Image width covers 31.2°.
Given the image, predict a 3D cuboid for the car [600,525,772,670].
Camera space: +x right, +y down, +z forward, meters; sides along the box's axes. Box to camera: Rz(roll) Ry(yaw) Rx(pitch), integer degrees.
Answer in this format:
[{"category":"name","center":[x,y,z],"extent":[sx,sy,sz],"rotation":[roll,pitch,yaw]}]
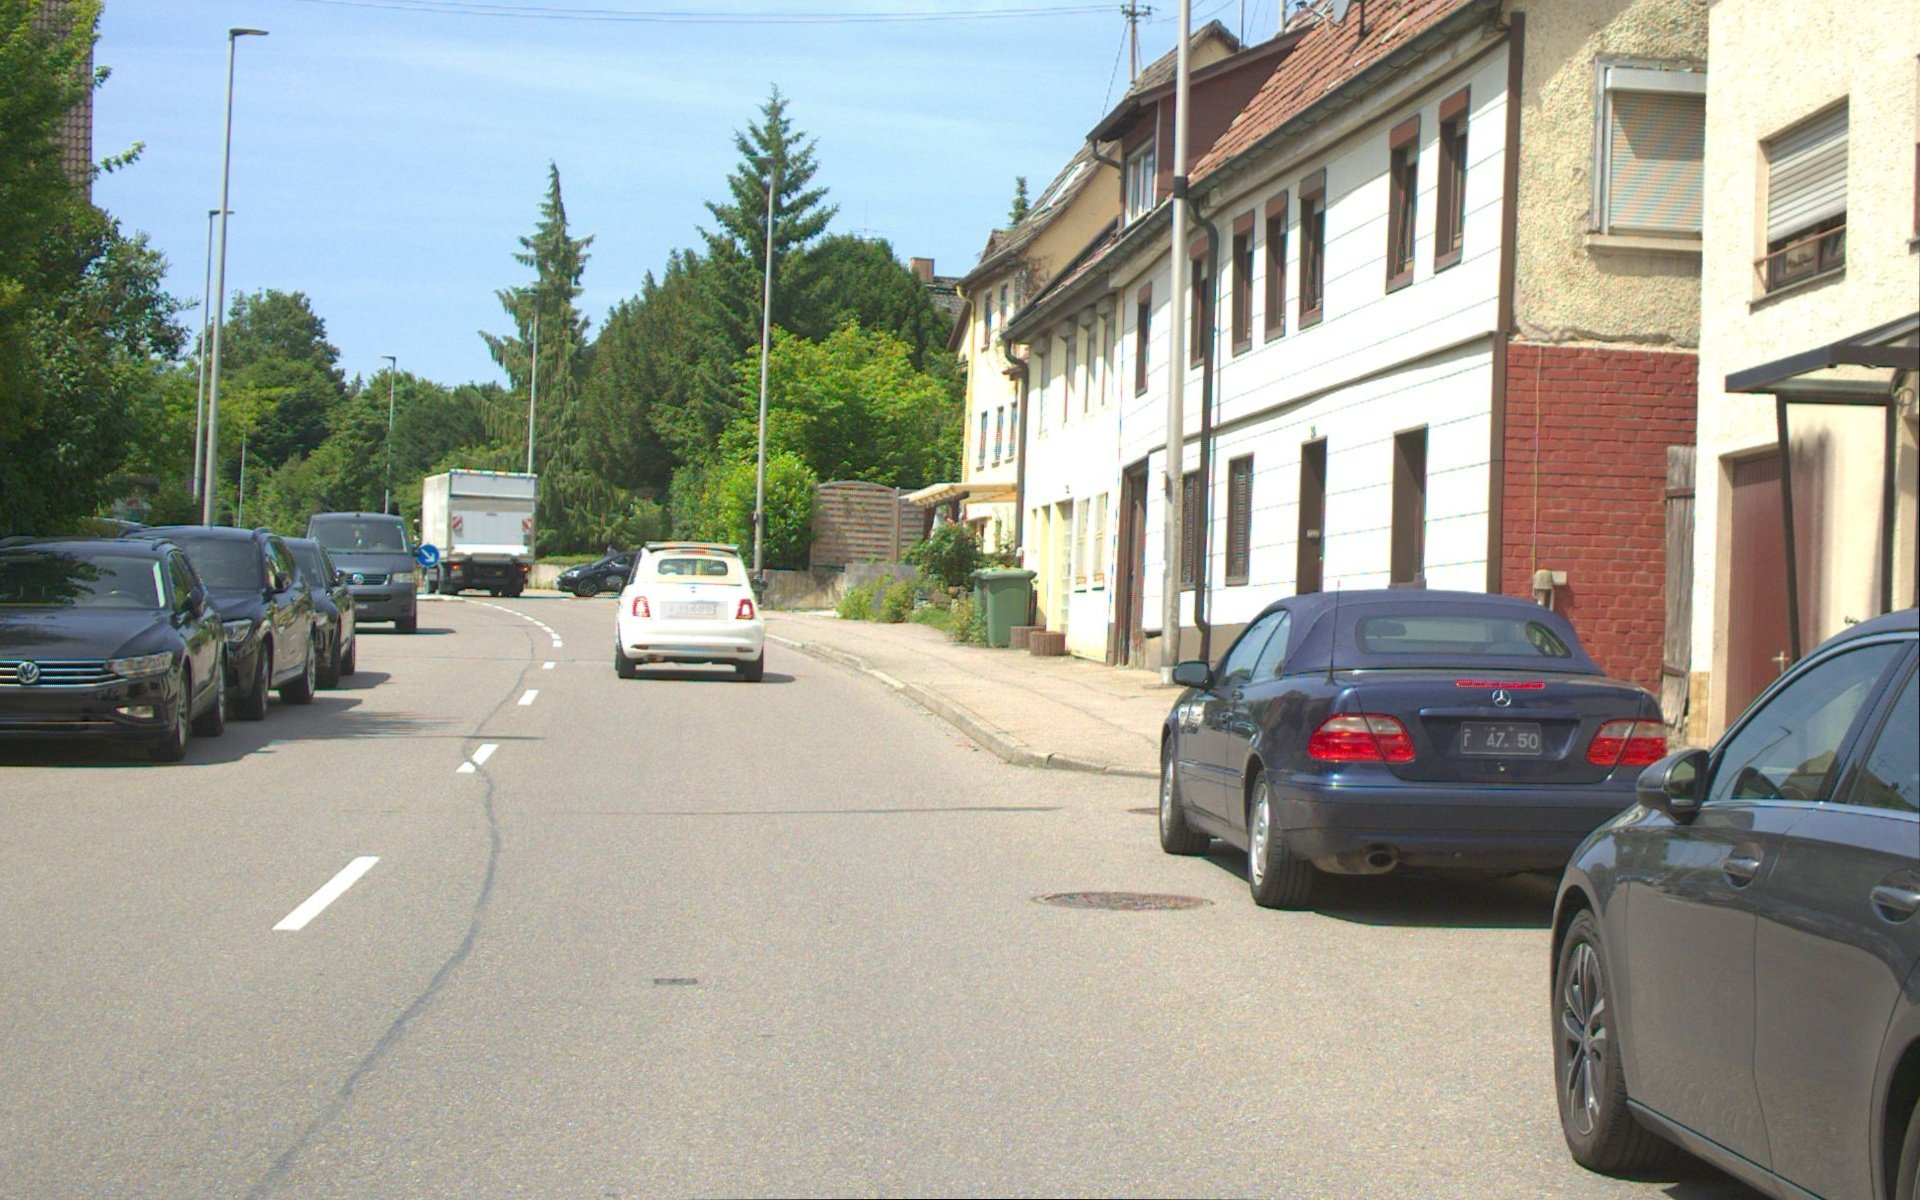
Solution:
[{"category":"car","center":[-3.169,-0.045,39.214],"extent":[1.724,1.555,4.001],"rotation":[1,1,-8]}]

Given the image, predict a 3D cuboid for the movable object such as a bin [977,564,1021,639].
[{"category":"movable object such as a bin","center":[0.544,0.021,48.206],"extent":[0.546,1.030,0.551],"rotation":[-1,1,-7]}]

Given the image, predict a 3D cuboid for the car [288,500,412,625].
[{"category":"car","center":[-10.027,-0.623,56.519],"extent":[1.890,1.931,4.987],"rotation":[1,1,-10]}]

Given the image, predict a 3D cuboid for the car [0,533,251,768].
[{"category":"car","center":[-6.137,0.276,24.083],"extent":[1.788,1.458,4.713],"rotation":[1,1,-6]}]

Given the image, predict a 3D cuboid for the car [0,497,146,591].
[{"category":"car","center":[-16.744,-1.096,61.195],"extent":[4.227,1.400,1.822],"rotation":[6,0,-15]}]

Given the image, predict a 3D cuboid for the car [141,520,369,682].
[{"category":"car","center":[-7.016,-0.042,34.610],"extent":[1.818,1.468,4.777],"rotation":[2,1,-7]}]

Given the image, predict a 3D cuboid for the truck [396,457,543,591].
[{"category":"truck","center":[-14.782,-2.227,103.131],"extent":[3.067,3.761,7.870],"rotation":[2,0,-17]}]

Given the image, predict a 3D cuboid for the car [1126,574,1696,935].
[{"category":"car","center":[1.920,0.609,15.897],"extent":[1.665,1.348,4.188],"rotation":[2,1,-5]}]

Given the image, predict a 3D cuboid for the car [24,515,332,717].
[{"category":"car","center":[-6.489,0.073,28.952],"extent":[1.755,1.516,4.301],"rotation":[2,1,-3]}]

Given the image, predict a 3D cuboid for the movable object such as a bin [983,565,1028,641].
[{"category":"movable object such as a bin","center":[0.633,0.035,47.625],"extent":[0.546,1.030,0.551],"rotation":[-1,1,-7]}]

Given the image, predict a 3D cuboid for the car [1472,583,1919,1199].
[{"category":"car","center":[2.406,0.702,7.172],"extent":[1.793,1.398,4.412],"rotation":[1,1,-3]}]

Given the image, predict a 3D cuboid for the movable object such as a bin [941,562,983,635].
[{"category":"movable object such as a bin","center":[0.025,-0.022,49.512],"extent":[0.546,1.030,0.551],"rotation":[-1,1,-7]}]
